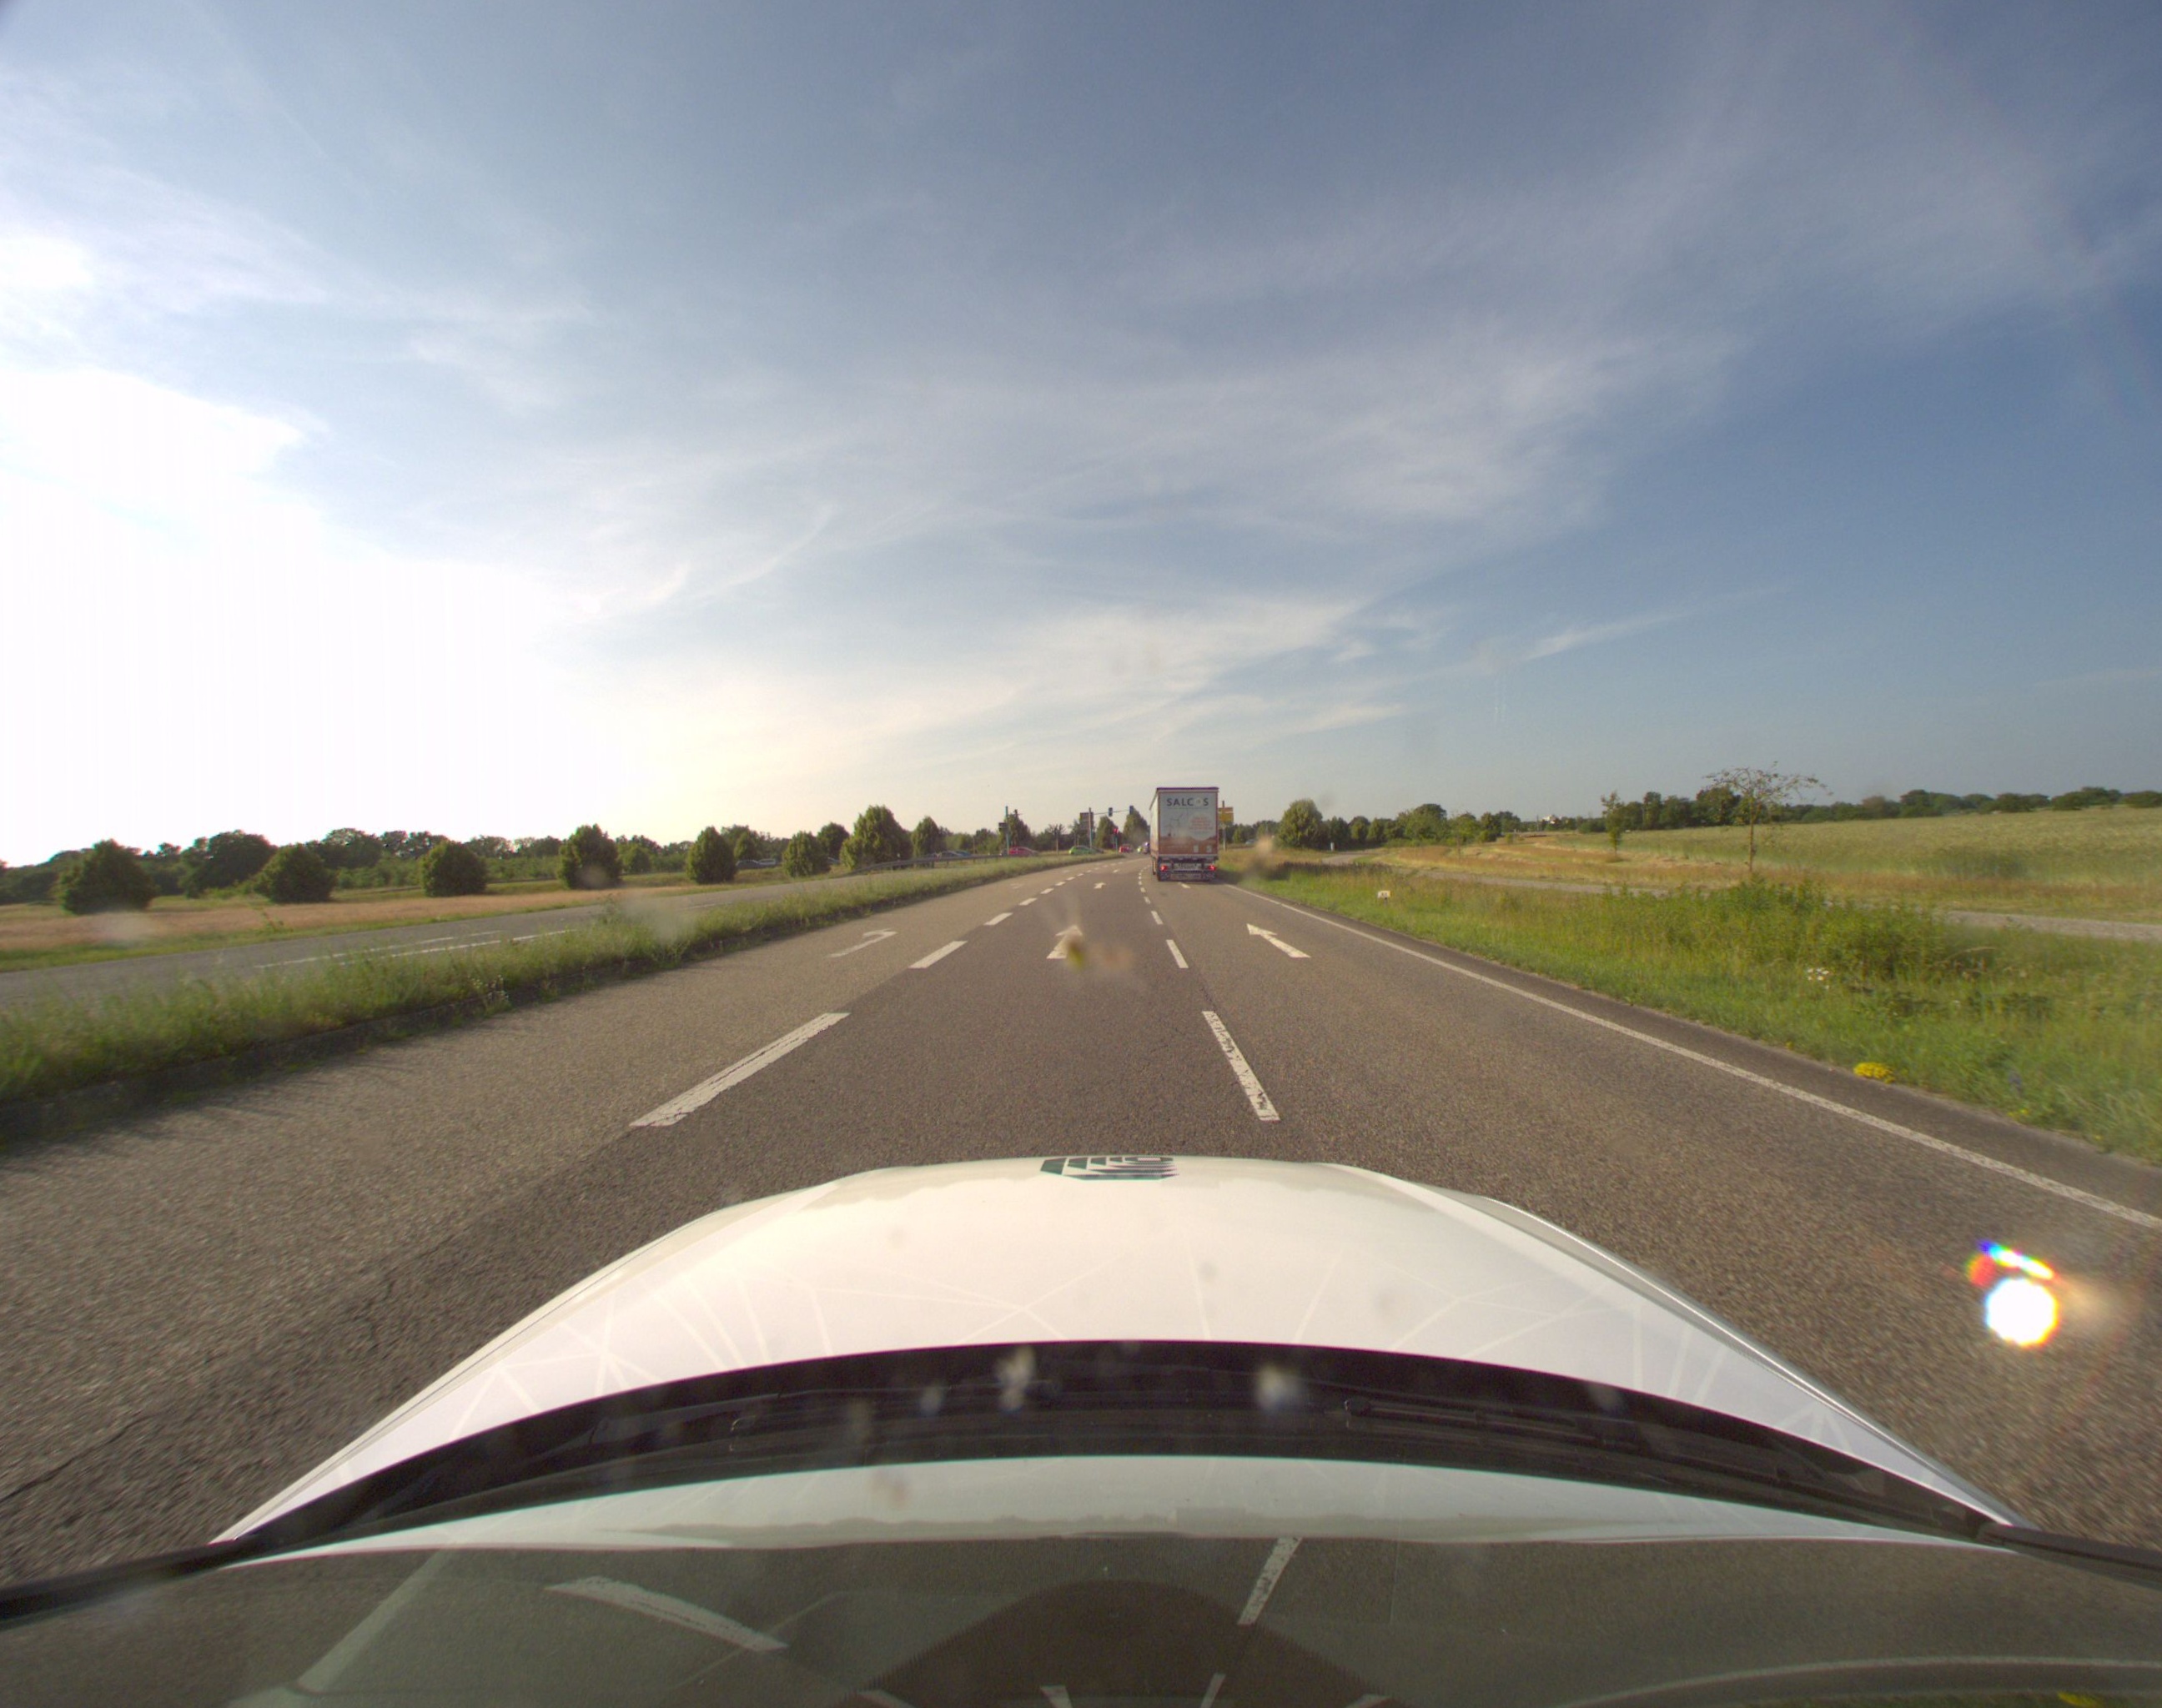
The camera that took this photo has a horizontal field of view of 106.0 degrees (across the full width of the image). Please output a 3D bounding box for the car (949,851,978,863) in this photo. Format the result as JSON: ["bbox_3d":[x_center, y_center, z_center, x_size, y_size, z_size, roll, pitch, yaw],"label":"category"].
[{"bbox_3d":[-18.760,0.486,130.106,4.451,2.014,1.996,0,-1,-6],"label":"car"}]

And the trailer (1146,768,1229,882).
[{"bbox_3d":[4.934,-1.308,40.179,3.266,4.680,13.163,-1,1,4],"label":"trailer"}]

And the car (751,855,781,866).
[{"bbox_3d":[-49.682,1.090,128.487,3.974,1.667,1.999,0,-1,-1],"label":"car"}]

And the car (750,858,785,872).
[{"bbox_3d":[-46.908,1.634,121.827,4.451,2.014,1.996,0,-1,-6],"label":"car"}]

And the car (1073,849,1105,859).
[{"bbox_3d":[1.108,0.024,113.947,4.407,1.417,1.920,0,-1,0],"label":"car"}]

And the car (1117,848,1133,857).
[{"bbox_3d":[7.462,-0.236,137.557,1.706,1.488,3.823,-2,1,20],"label":"car"}]

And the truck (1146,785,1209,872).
[{"bbox_3d":[5.452,-1.400,46.937,3.285,4.657,5.739,-1,0,4],"label":"truck"}]

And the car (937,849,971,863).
[{"bbox_3d":[-18.468,0.299,118.215,4.427,2.014,2.007,-1,-1,13],"label":"car"}]

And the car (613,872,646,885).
[{"bbox_3d":[-70.883,3.820,127.898,3.987,2.014,1.993,0,-1,-10],"label":"car"}]

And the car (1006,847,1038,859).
[{"bbox_3d":[-8.470,-0.124,116.902,4.238,1.565,1.906,-1,-1,9],"label":"car"}]
